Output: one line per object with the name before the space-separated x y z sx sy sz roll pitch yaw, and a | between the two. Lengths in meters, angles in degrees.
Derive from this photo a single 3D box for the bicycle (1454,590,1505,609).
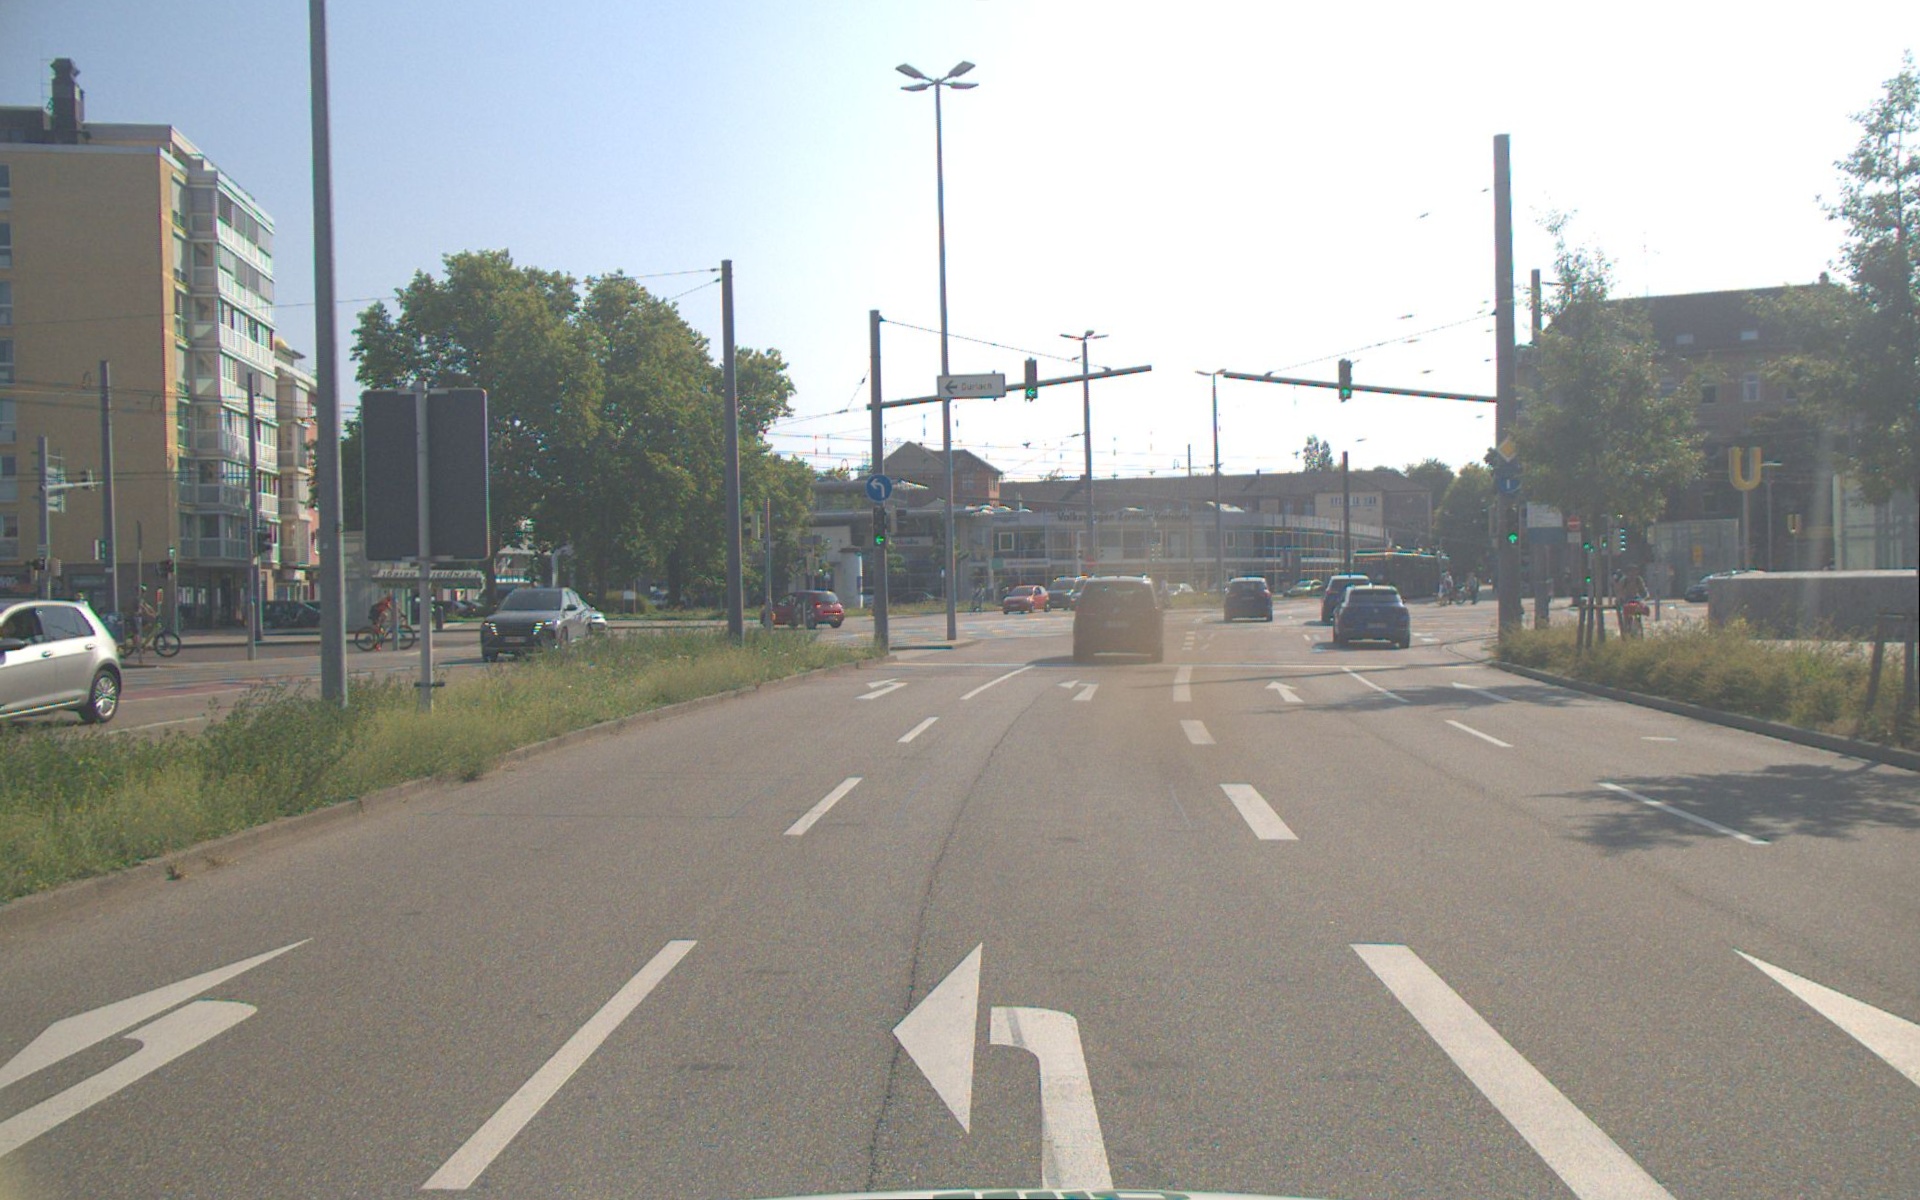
bicycle | 28.772 -0.050 91.597 2.577 0.981 1.088 -1 0 -17

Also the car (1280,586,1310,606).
car | 27.454 -0.348 135.381 1.581 1.501 3.999 -3 -1 23

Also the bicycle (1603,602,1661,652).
bicycle | 13.952 0.552 34.378 0.704 0.976 1.923 -1 0 10

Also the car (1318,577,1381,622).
car | 13.420 -0.031 57.199 1.786 1.453 4.416 -1 1 9

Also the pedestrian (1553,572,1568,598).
pedestrian | 34.601 -0.858 95.312 0.661 1.496 0.539 -1 0 -37

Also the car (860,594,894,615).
car | -6.519 0.344 130.337 1.663 1.549 4.103 -1 0 11

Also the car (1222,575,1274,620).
car | 10.729 -0.124 61.846 1.786 1.562 4.416 -1 1 8

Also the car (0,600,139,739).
car | -11.003 0.754 18.203 1.776 1.458 4.225 -1 0 1

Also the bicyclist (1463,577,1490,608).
bicyclist | 28.585 -0.419 91.532 0.919 1.709 1.088 -1 0 -17

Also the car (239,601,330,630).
car | -34.657 0.784 84.946 4.083 1.378 1.477 -1 0 -12

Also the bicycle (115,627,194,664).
bicycle | -22.079 1.252 45.346 1.777 0.948 0.725 -1 0 -5

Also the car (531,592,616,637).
car | -13.480 0.491 57.613 1.869 1.477 3.637 -1 0 -31

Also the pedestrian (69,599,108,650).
pedestrian | -29.487 0.817 55.973 0.905 1.719 0.920 -1 0 -10

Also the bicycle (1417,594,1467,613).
bicycle | 25.686 0.182 88.102 2.591 0.981 1.082 -1 0 -31

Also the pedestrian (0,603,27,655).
pedestrian | -32.278 0.984 56.045 0.905 1.719 0.920 -1 0 -10

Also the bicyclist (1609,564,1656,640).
bicyclist | 13.933 0.040 34.289 0.704 1.539 1.005 -1 0 11

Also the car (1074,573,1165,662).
car | 3.332 0.318 34.754 1.787 1.744 4.415 0 1 5

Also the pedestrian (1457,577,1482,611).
pedestrian | 27.455 -0.320 89.115 0.917 1.828 0.850 -1 0 -34

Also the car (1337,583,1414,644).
car | 10.864 0.319 43.475 1.786 1.453 4.416 -1 1 12

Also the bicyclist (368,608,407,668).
bicyclist | -16.332 1.071 47.217 0.864 1.681 0.725 -1 0 -4

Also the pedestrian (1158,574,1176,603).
pedestrian | 10.992 -0.631 87.831 0.761 1.529 0.710 -1 0 18

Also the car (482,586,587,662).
car | -10.032 0.530 39.276 1.661 1.645 4.457 -1 0 -5

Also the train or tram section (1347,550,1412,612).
train or tram section | 27.013 -1.243 106.250 2.600 3.763 10.589 -1 1 22

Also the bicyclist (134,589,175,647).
bicyclist | -22.073 0.482 45.344 0.778 1.554 0.725 -1 0 -4

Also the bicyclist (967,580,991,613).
bicyclist | 1.027 -0.207 90.418 0.938 1.779 1.166 -1 0 23

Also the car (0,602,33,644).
car | -41.585 0.982 70.474 4.459 1.708 1.993 -1 0 36

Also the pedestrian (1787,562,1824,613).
pedestrian | 28.735 -0.421 56.215 0.907 1.719 0.832 -1 0 44

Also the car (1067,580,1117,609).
car | 7.359 -0.340 91.669 1.581 1.501 4.000 -3 -1 22

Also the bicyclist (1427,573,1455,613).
bicyclist | 25.637 -0.371 88.081 0.924 2.059 1.082 -1 0 -30

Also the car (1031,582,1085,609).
car | 5.754 -0.276 96.959 1.920 1.501 4.000 -3 -1 22

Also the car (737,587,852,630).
car | -6.533 0.342 65.209 4.320 1.562 1.826 -1 0 34

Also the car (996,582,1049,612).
car | 3.421 -0.163 89.732 1.581 1.501 4.000 -3 -1 22

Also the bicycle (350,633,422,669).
bicycle | -16.375 1.449 47.212 1.777 0.948 0.725 -1 0 -5

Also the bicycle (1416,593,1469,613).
bicycle | 26.340 0.157 90.316 2.577 0.981 1.088 -1 0 -17

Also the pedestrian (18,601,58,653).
pedestrian | -31.194 0.892 55.952 0.905 1.719 0.920 -1 0 -10

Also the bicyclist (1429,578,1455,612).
bicyclist | 26.318 -0.272 90.306 0.919 1.831 1.088 -1 0 -17

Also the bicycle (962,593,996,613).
bicycle | 1.065 0.163 90.501 0.938 1.075 2.608 -1 0 23

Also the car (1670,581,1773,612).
car | 36.037 -0.173 78.272 4.311 1.421 2.011 -1 0 -21
